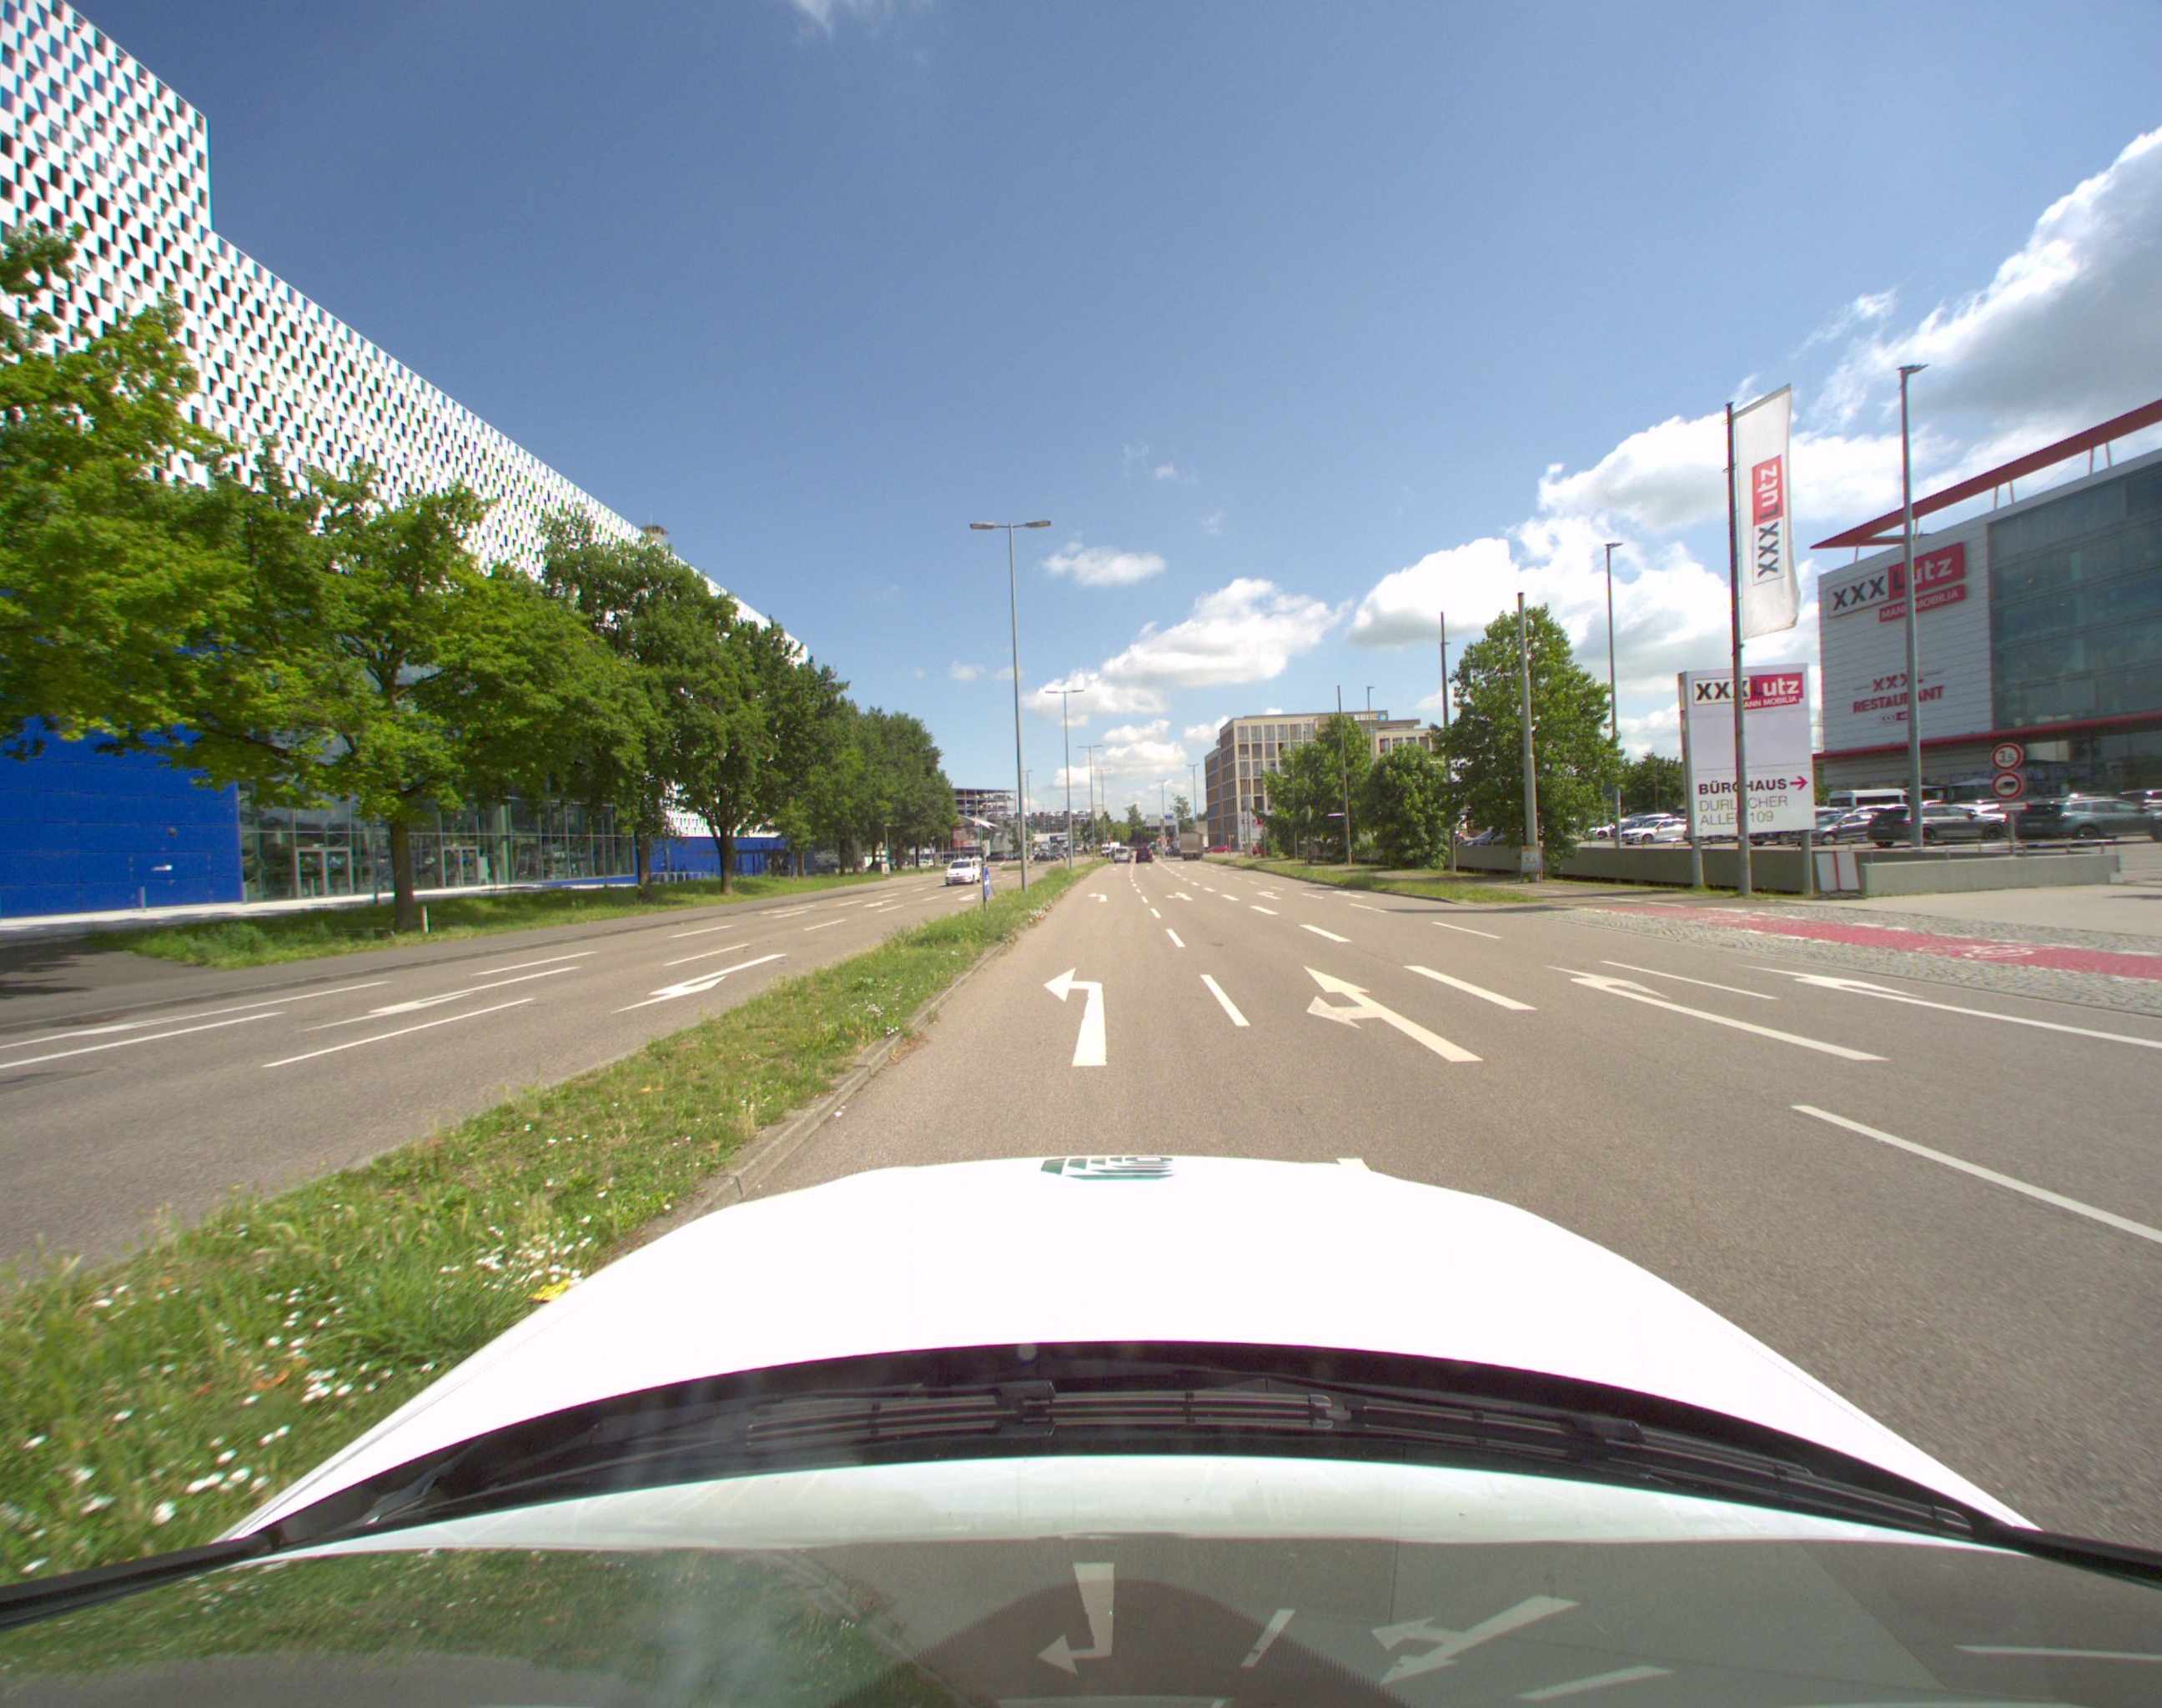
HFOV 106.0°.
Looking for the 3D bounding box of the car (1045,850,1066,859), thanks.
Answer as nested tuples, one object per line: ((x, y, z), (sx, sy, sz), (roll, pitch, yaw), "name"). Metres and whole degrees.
((-5.017, 0.095, 159.905), (3.849, 1.639, 1.858), (-4, 1, 0), "car")

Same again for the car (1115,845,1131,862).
((5.141, -0.115, 99.708), (1.848, 2.018, 4.003), (-1, 1, 2), "car")

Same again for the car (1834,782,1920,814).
((55.172, -3.852, 56.478), (3.972, 1.951, 2.001), (-2, 1, 2), "car")

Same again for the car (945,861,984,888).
((-6.905, 1.197, 48.575), (1.637, 1.429, 3.671), (-4, 0, 1), "car")

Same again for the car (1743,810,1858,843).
((35.863, -1.350, 40.635), (4.168, 1.325, 1.689), (-4, 0, 1), "car")

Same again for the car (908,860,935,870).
((-25.241, 1.721, 129.165), (3.838, 1.466, 1.696), (-2, 1, 0), "car")

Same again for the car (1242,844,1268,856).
((27.404, -0.635, 128.224), (3.961, 1.662, 2.006), (-2, 1, 10), "car")

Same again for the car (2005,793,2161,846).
((35.187, -1.184, 28.286), (4.168, 1.552, 1.765), (-4, 1, 0), "car")

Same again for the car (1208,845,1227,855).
((24.114, -0.691, 143.998), (3.261, 1.405, 1.335), (-2, 9, 1), "car")

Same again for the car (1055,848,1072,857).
((-3.628, -0.300, 169.971), (3.496, 1.712, 1.603), (-4, 1, 0), "car")

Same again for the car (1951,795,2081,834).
((40.337, -1.689, 35.191), (3.753, 1.387, 1.615), (-3, 1, 0), "car")

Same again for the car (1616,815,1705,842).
((36.050, -1.561, 50.721), (4.172, 1.389, 1.892), (-4, 1, -2), "car")

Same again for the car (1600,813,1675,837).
((40.938, -2.138, 59.949), (4.168, 1.434, 1.893), (-4, 1, 1), "car")

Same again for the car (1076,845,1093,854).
((0.848, -1.098, 191.311), (3.977, 1.925, 1.825), (-2, 0, -3), "car")

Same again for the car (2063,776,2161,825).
((48.439, -2.473, 37.457), (3.972, 2.013, 2.001), (-4, 1, 1), "car")

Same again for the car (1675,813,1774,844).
((36.246, -1.434, 45.935), (3.975, 1.571, 1.999), (-2, 0, -1), "car")

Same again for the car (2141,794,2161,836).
((39.945, -1.469, 28.286), (3.973, 1.464, 1.728), (-4, 1, 0), "car")

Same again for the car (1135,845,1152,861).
((7.392, -0.178, 95.950), (1.810, 1.808, 4.008), (-1, 0, 7), "car")

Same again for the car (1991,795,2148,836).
((40.066, -1.541, 33.075), (4.225, 1.464, 1.761), (-2, 1, 0), "car")

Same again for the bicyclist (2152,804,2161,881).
((20.336, -0.235, 14.973), (0.716, 1.412, 0.612), (-3, 1, -25), "bicyclist")

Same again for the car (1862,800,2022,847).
((35.023, -1.237, 33.203), (4.344, 1.574, 2.030), (-4, 1, 0), "car")

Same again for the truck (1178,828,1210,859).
((15.330, -1.477, 110.047), (3.106, 3.940, 8.895), (-2, 1, 15), "truck")

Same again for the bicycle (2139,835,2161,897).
((20.318, 0.183, 14.963), (1.971, 1.067, 0.620), (-4, 1, -25), "bicycle")

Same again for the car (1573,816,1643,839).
((40.456, -2.033, 62.592), (4.168, 1.434, 1.727), (-4, 1, 1), "car")

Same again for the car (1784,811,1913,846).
((35.608, -1.174, 37.863), (4.344, 1.325, 1.765), (-4, 1, 0), "car")
